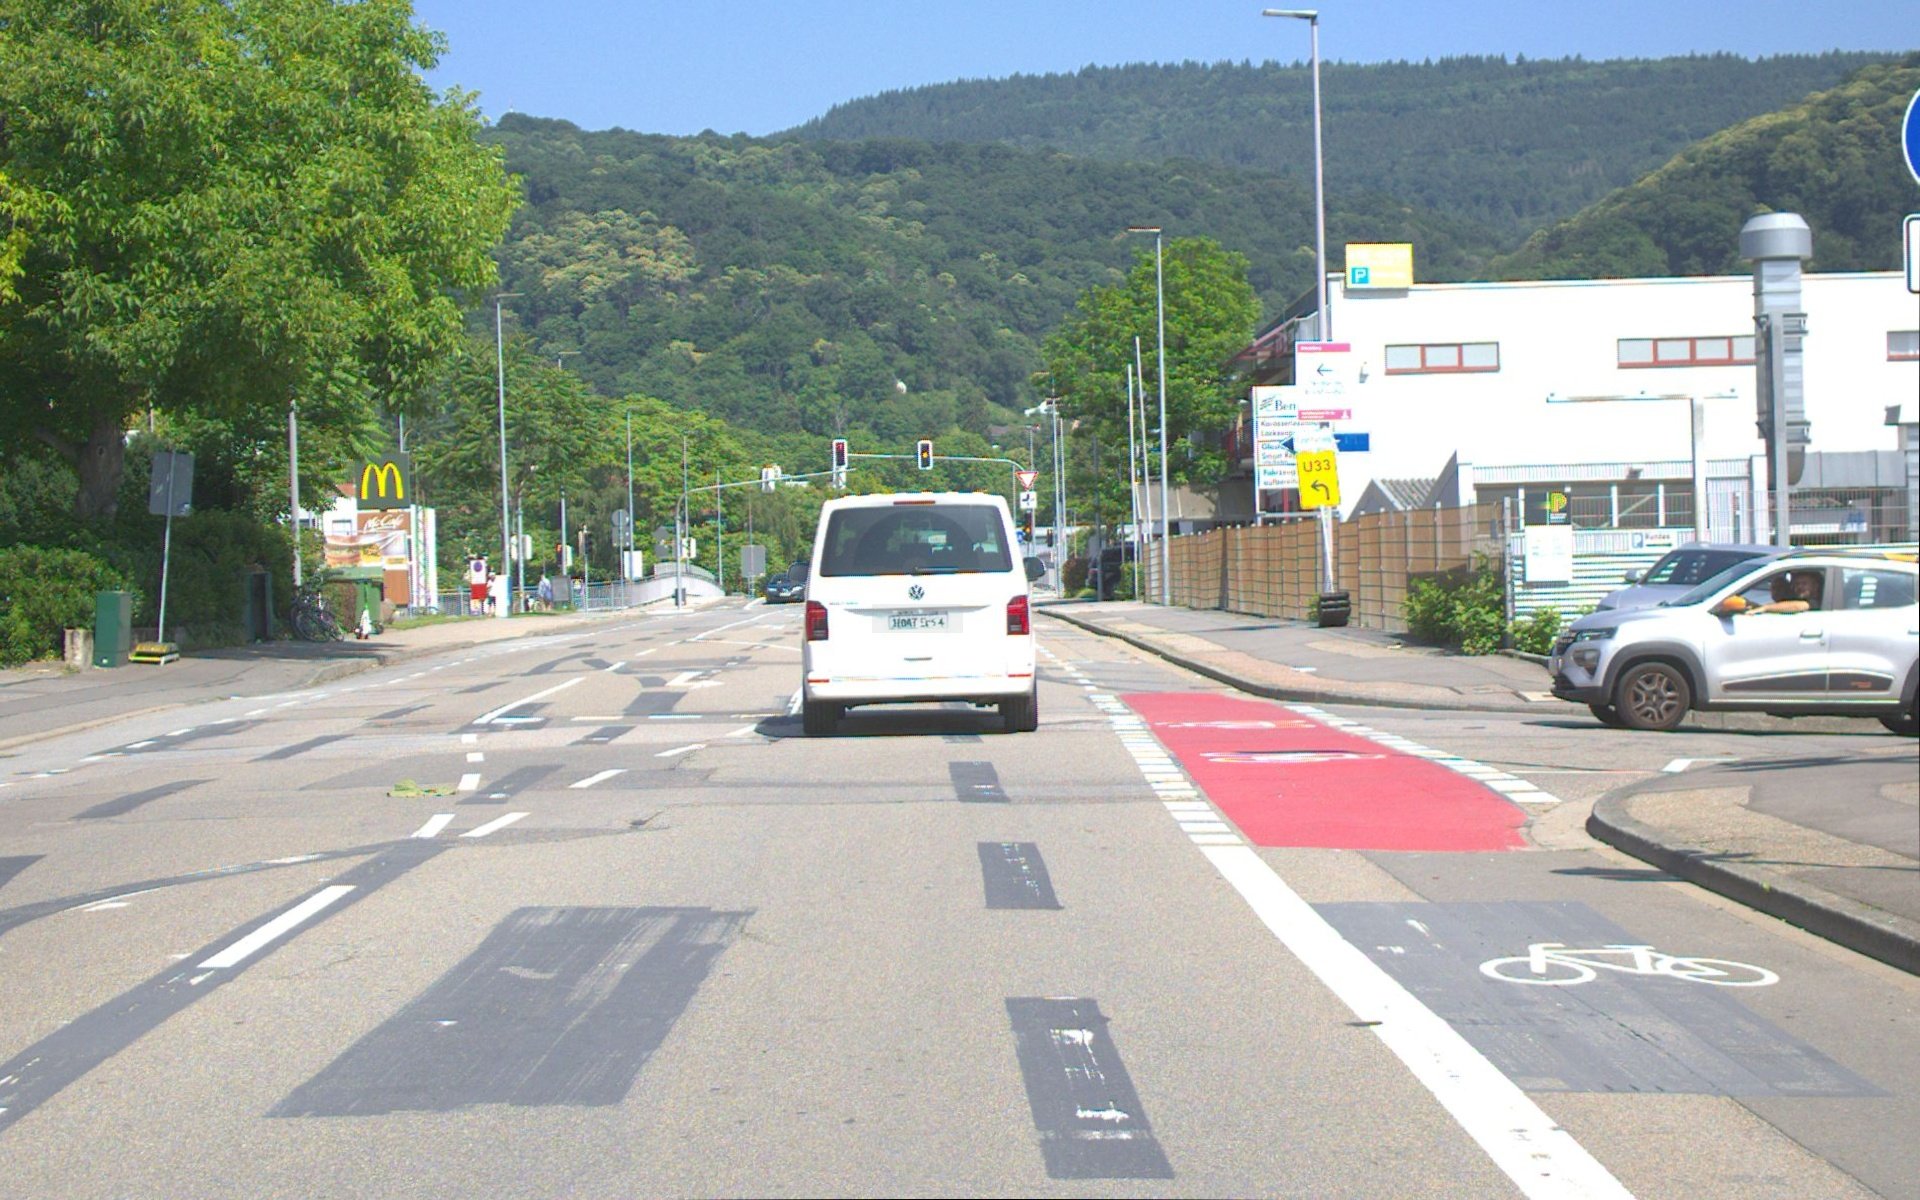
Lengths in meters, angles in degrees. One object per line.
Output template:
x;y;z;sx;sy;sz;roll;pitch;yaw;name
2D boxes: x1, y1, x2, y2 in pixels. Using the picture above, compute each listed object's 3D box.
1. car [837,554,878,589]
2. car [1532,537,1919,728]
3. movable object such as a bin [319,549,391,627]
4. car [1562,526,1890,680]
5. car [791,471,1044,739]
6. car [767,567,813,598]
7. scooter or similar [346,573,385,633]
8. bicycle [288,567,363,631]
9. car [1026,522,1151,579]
-4.882;-1.379;164.437;1.849;1.583;4.000;-2;1;0;car
6.682;0.244;28.265;3.665;1.479;1.728;-1;1;1;car
-12.848;-0.261;73.061;1.447;1.585;1.307;-2;1;-9;movable object such as a bin
7.717;0.056;34.322;1.955;1.354;4.490;3;0;29;car
-0.423;0.007;29.060;1.934;2.052;4.545;-1;1;-2;car
-7.901;-0.823;159.851;1.993;1.365;4.327;-2;1;-4;car
-11.611;0.047;67.191;0.646;1.124;1.623;1;1;-7;scooter or similar
-11.731;-0.029;63.602;1.026;1.114;2.766;1;1;-4;bicycle
4.292;-1.653;114.636;3.988;1.769;2.000;-2;1;6;car
